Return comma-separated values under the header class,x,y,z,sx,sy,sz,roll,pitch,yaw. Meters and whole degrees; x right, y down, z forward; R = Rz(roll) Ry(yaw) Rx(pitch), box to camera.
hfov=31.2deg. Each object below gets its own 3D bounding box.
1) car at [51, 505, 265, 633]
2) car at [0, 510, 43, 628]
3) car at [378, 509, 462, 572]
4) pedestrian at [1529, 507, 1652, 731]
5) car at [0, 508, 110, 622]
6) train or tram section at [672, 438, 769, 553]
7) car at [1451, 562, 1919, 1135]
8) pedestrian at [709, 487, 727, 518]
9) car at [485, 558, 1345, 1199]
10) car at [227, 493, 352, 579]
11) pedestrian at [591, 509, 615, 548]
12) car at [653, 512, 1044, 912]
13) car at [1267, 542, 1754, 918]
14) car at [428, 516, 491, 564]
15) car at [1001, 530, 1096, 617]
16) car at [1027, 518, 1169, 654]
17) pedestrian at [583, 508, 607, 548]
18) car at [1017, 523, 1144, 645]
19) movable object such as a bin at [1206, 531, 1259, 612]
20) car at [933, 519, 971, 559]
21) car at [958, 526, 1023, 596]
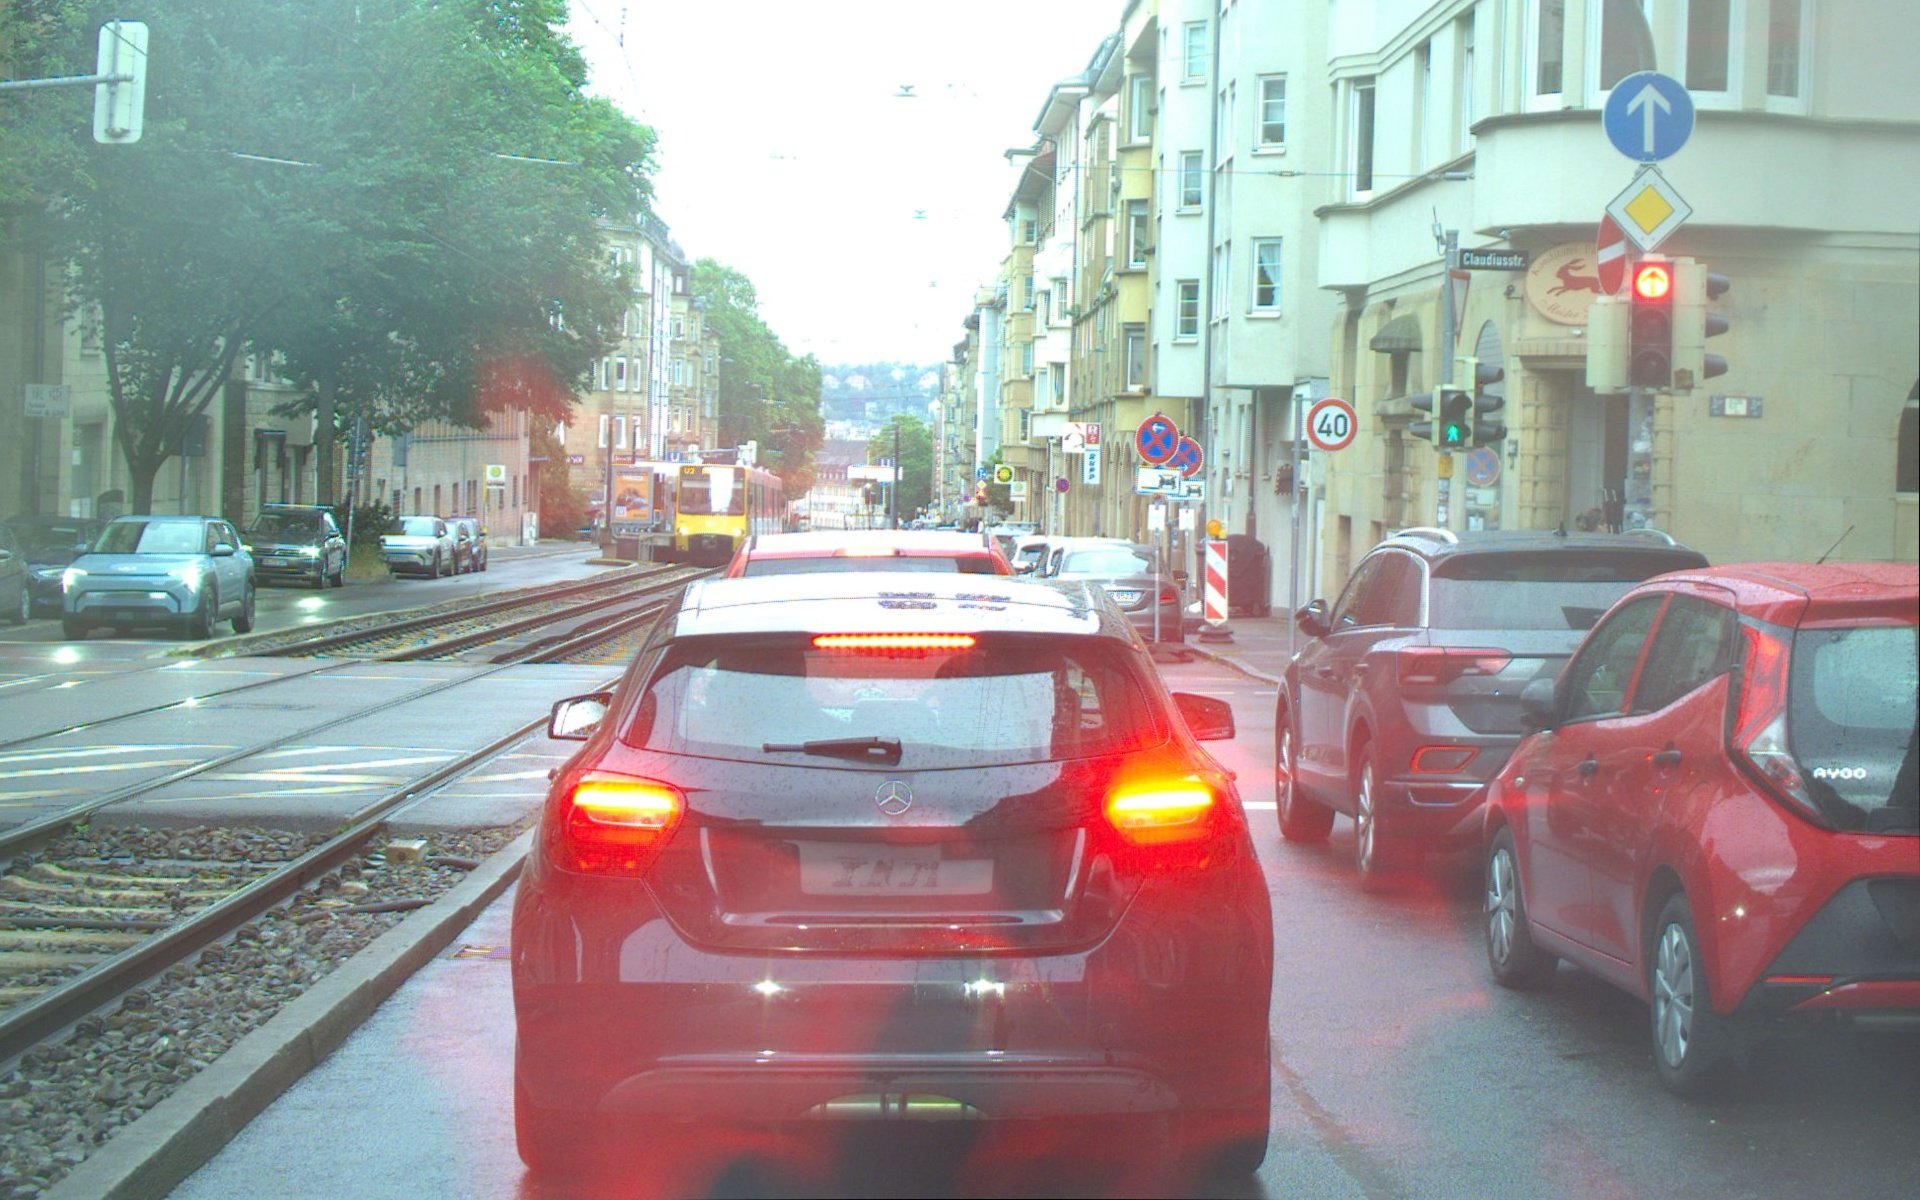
class,x,y,z,sx,sy,sz,roll,pitch,yaw
car,-10.454,-0.410,45.085,1.898,1.582,3.973,1,0,-1
car,-13.478,-0.427,45.699,1.752,1.547,4.036,1,0,-4
car,-13.988,-1.535,89.171,1.589,1.575,3.918,1,0,-1
pedestrian,5.018,0.144,27.425,0.741,1.742,1.111,1,0,-1
car,-13.731,-0.515,50.730,1.716,1.605,3.919,1,0,-5
train or tram section,-8.478,-3.634,122.837,2.783,3.847,10.430,1,0,-1
car,2.652,0.635,10.531,1.642,1.443,3.299,1,1,-3
pedestrian,-15.797,-6.370,224.638,1.053,1.951,1.043,2,1,1
car,-0.123,0.640,9.463,1.829,1.453,4.104,1,1,-1
car,-13.951,-1.319,71.708,1.875,1.731,3.918,1,0,-1
pedestrian,-18.260,-3.664,175.831,1.053,1.951,1.043,2,1,1
car,-0.476,0.439,15.850,1.565,1.604,3.814,1,0,-1
car,2.389,0.492,15.769,1.544,1.481,3.830,1,1,-1
car,-14.330,-1.721,98.581,1.448,1.326,3.272,1,0,-2
car,1.559,-0.491,61.531,1.544,1.481,3.548,1,1,-1
car,1.673,-0.203,42.646,1.544,1.585,3.548,1,1,-1
pedestrian,-18.521,-3.654,174.374,1.053,1.951,1.043,2,1,1
car,1.617,-0.240,47.121,1.544,1.585,3.548,1,1,-1
movable object such as a bin,4.717,-0.494,59.578,0.878,1.384,0.982,1,0,3
car,-0.321,-2.543,143.330,1.544,1.630,3.686,1,1,0
car,0.641,-0.848,73.600,1.294,1.437,2.929,1,1,-1
